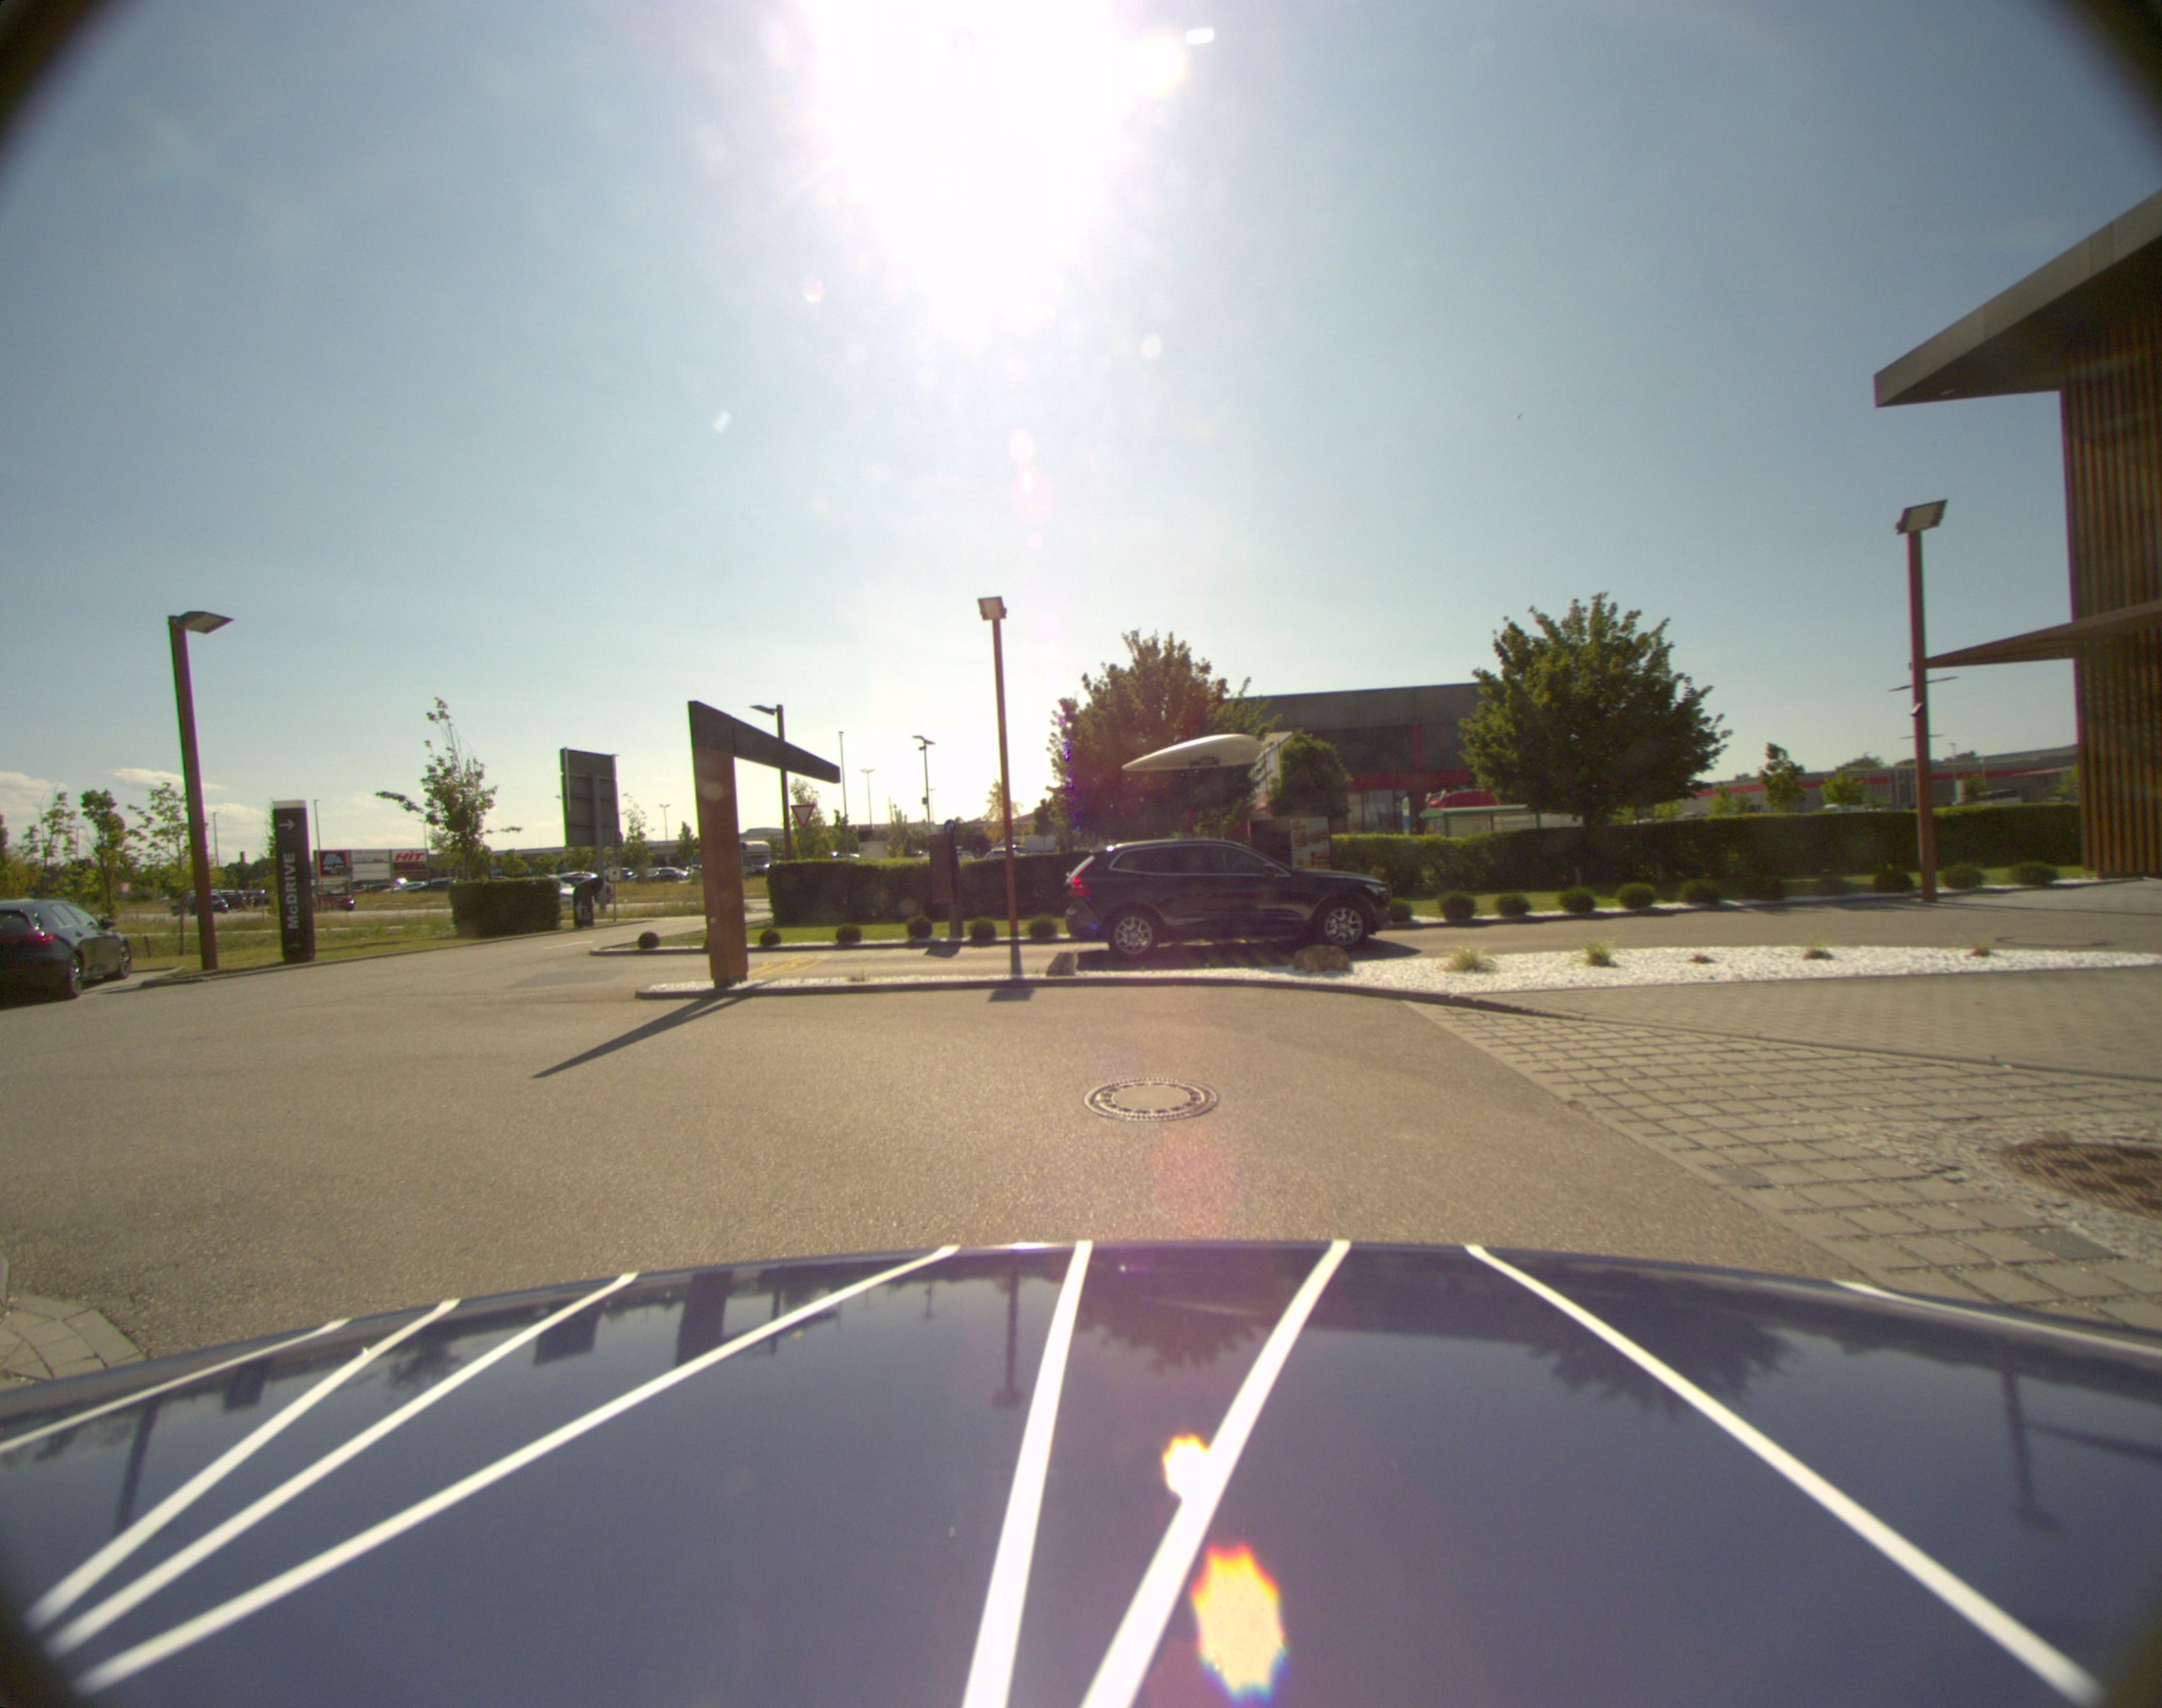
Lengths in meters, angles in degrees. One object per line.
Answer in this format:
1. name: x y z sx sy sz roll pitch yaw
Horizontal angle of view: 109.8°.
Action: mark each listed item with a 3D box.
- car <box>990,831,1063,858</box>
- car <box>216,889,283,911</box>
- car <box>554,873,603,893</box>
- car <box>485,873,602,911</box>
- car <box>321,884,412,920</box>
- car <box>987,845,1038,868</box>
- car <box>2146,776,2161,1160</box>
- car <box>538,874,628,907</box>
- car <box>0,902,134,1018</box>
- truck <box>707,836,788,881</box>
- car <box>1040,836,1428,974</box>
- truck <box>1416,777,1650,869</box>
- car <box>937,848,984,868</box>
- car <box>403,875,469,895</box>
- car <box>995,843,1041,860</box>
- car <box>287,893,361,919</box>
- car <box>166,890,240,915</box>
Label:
1. car: -5.127 -0.915 72.113 6.565 2.231 2.301 -3 1 3
2. car: -61.842 3.421 56.520 3.992 1.455 1.763 -3 0 17
3. car: -44.638 2.555 67.497 1.537 1.547 3.226 -2 0 31
4. car: -23.413 1.657 33.131 4.315 1.414 1.737 -3 1 14
5. car: -36.995 2.480 39.381 3.446 1.587 1.566 -3 1 8
6. car: -5.732 0.188 64.047 3.997 1.718 1.894 -3 1 0
7. car: 5.715 0.465 1.417 4.028 1.696 1.678 -3 1 42
8. car: -26.781 1.970 40.872 3.769 1.551 1.803 -3 1 11
9. car: -15.673 1.500 10.961 1.917 1.414 3.765 -3 0 -43
10. truck: -26.818 0.426 60.999 7.545 3.333 2.427 -2 1 37
11. car: 2.056 0.680 11.078 5.060 1.620 1.925 -3 1 2
12. truck: 21.513 -1.431 36.650 9.121 3.844 3.211 -2 1 4
13. car: -11.295 0.344 71.454 1.889 1.718 4.265 -2 1 35
14. car: -56.249 2.708 66.327 4.002 1.455 1.759 -3 0 -14
15. car: -5.737 -0.221 69.128 3.904 1.334 1.665 -3 1 3
16. car: -46.744 3.206 46.924 3.569 1.436 1.637 -3 1 16
17. car: -59.609 3.305 51.615 3.992 1.455 1.763 -3 1 17
